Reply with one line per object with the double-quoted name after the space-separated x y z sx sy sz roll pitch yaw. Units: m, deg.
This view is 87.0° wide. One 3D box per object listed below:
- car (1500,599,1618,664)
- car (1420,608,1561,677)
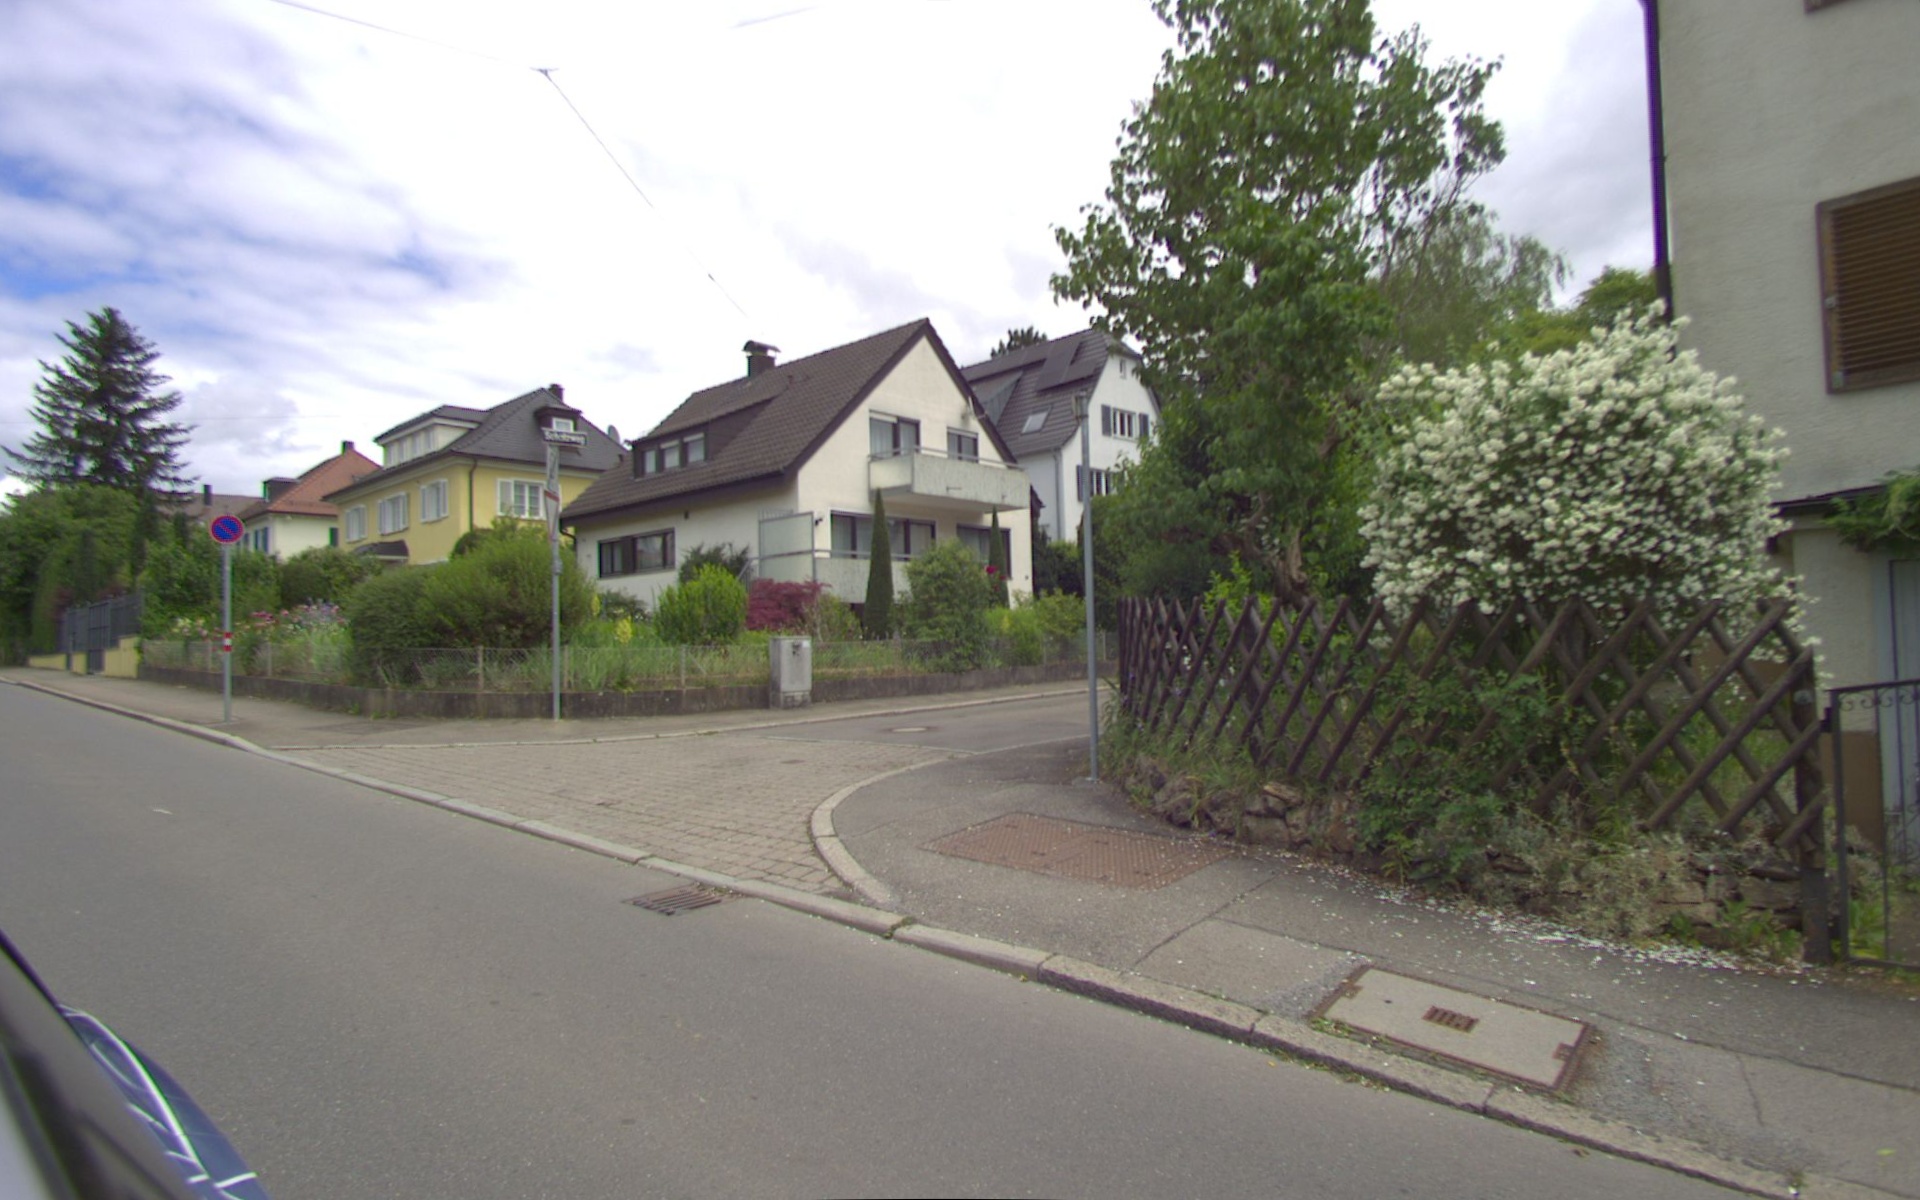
15.937 0.800 26.856 3.821 1.585 1.771 0 -2 -45 "car"
11.996 0.909 22.780 3.776 1.419 1.742 0 -2 -45 "car"
